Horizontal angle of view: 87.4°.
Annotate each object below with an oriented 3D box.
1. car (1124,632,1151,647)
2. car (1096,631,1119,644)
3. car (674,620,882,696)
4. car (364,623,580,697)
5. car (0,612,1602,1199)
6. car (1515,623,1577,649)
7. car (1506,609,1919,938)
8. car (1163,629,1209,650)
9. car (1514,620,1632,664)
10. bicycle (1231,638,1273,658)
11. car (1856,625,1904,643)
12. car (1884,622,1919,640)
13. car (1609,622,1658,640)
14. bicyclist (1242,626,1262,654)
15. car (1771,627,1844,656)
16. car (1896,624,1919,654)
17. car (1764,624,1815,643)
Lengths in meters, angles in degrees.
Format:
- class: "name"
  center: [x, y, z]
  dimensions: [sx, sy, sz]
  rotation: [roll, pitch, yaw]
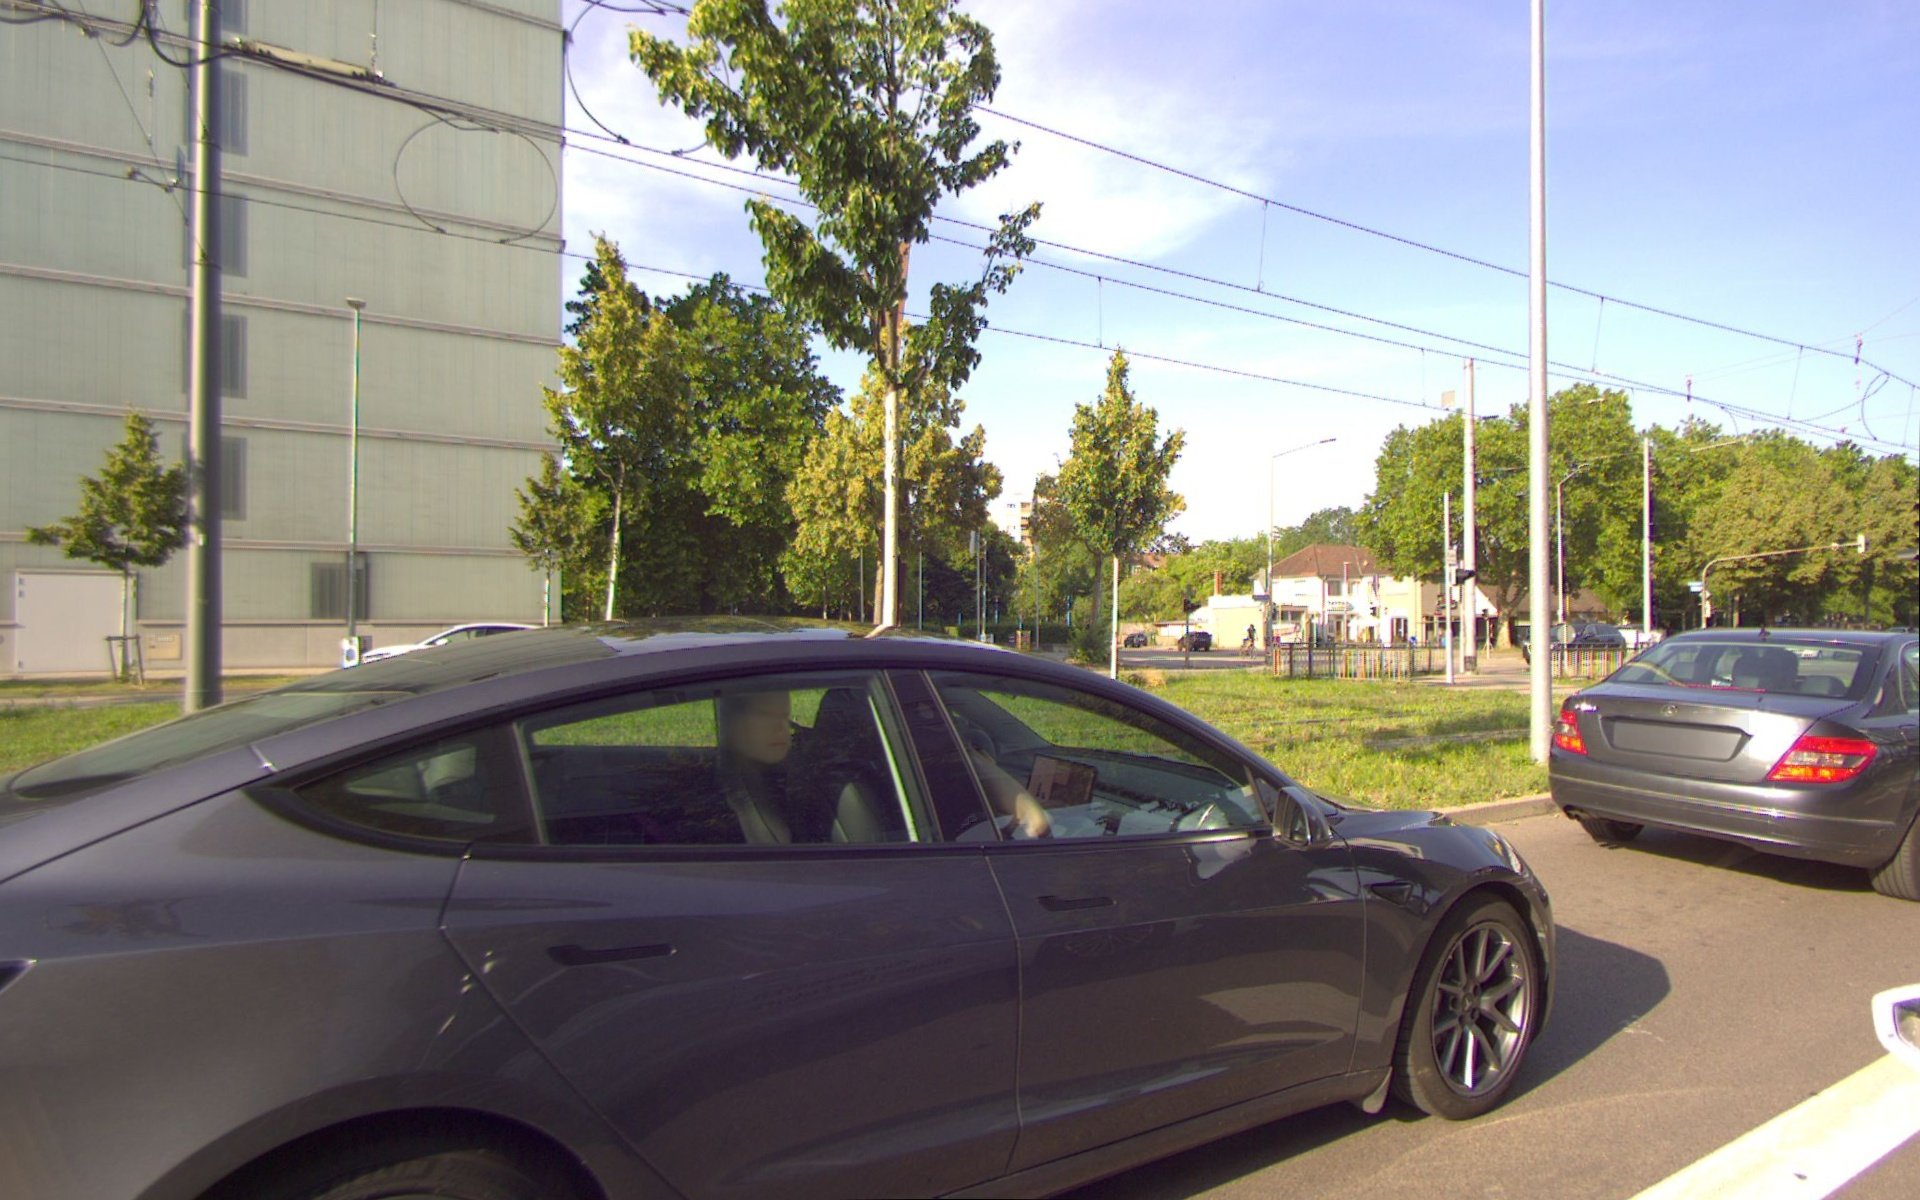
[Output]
- class: "car"
  center: [19.032, 4.226, 107.922]
  dimensions: [1.667, 1.491, 3.941]
  rotation: [0, -1, -8]
- class: "car"
  center: [17.505, 4.434, 119.428]
  dimensions: [1.667, 1.491, 3.941]
  rotation: [0, -1, -8]
- class: "car"
  center: [-4.103, 1.248, 22.956]
  dimensions: [4.272, 1.548, 1.979]
  rotation: [1, -1, -38]
- class: "car"
  center: [-11.355, 1.320, 23.456]
  dimensions: [4.392, 1.548, 1.895]
  rotation: [0, -1, -32]
- class: "car"
  center: [-0.262, 0.760, 2.886]
  dimensions: [4.285, 1.404, 1.879]
  rotation: [0, 1, -32]
- class: "car"
  center: [41.360, 2.545, 70.847]
  dimensions: [3.946, 1.773, 1.876]
  rotation: [1, -2, -25]
- class: "car"
  center: [5.683, 0.829, 6.565]
  dimensions: [4.303, 1.498, 1.777]
  rotation: [0, 1, -31]
- class: "car"
  center: [19.530, 3.412, 86.850]
  dimensions: [1.971, 1.750, 3.979]
  rotation: [1, -1, -23]
- class: "car"
  center: [24.973, 1.664, 40.888]
  dimensions: [4.935, 1.707, 1.985]
  rotation: [0, -1, -30]
- class: "bicycle"
  center: [16.072, 2.657, 55.319]
  dimensions: [2.168, 1.055, 0.697]
  rotation: [-1, -2, 38]
- class: "car"
  center: [84.172, 3.129, 91.909]
  dimensions: [3.946, 1.580, 1.876]
  rotation: [1, -2, -25]
- class: "car"
  center: [88.733, 2.900, 94.039]
  dimensions: [3.946, 1.580, 1.876]
  rotation: [1, -2, -25]
- class: "car"
  center: [59.937, 2.725, 89.380]
  dimensions: [3.946, 1.580, 1.876]
  rotation: [1, -2, -25]
- class: "bicyclist"
  center: [16.084, 2.194, 55.320]
  dimensions: [0.836, 1.512, 0.697]
  rotation: [-1, -1, 38]
- class: "car"
  center: [48.766, 2.347, 57.802]
  dimensions: [4.172, 1.548, 1.869]
  rotation: [0, -1, -29]
- class: "car"
  center: [50.245, 1.979, 51.674]
  dimensions: [4.045, 1.524, 1.984]
  rotation: [0, -2, -30]
- class: "car"
  center: [70.703, 2.826, 85.587]
  dimensions: [3.946, 1.580, 1.876]
  rotation: [1, -2, -25]
